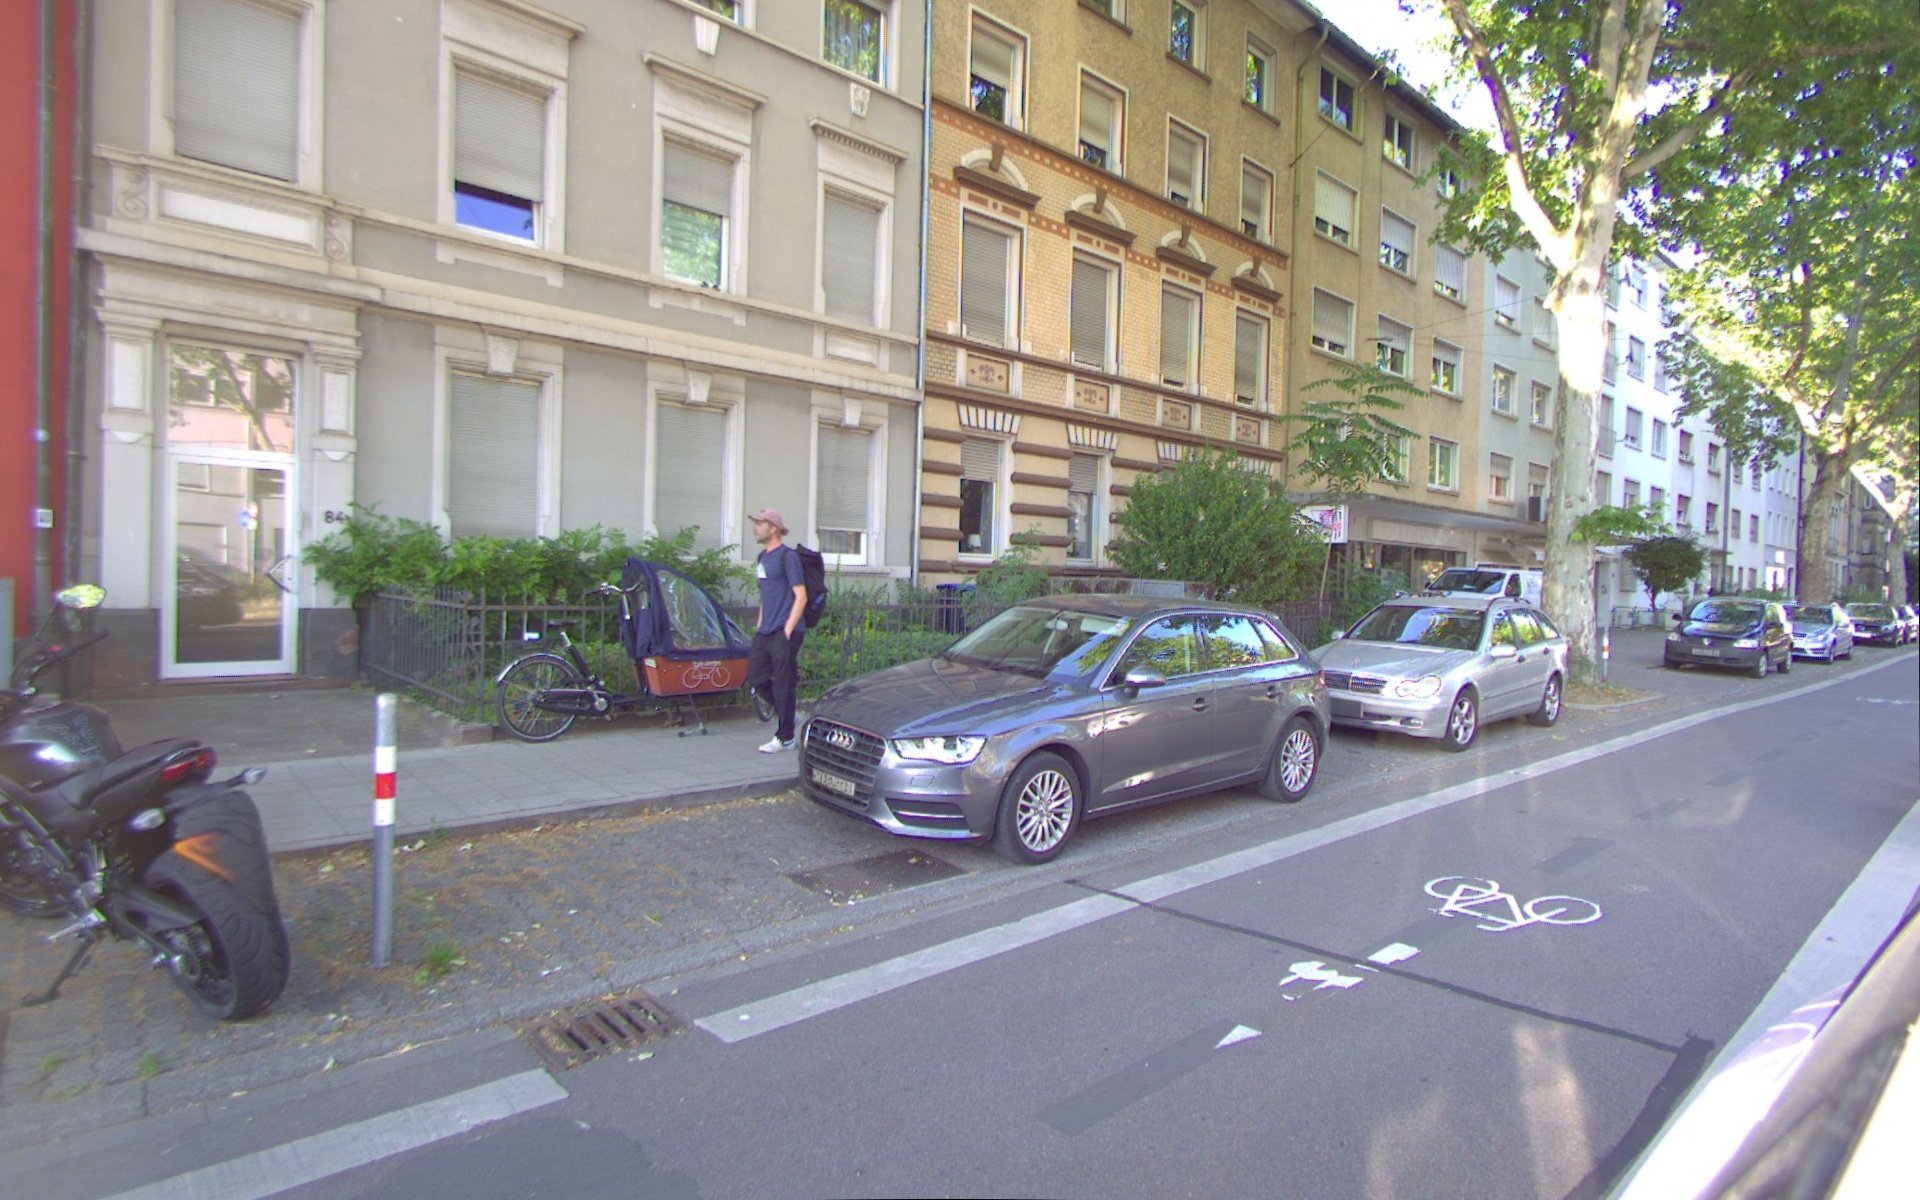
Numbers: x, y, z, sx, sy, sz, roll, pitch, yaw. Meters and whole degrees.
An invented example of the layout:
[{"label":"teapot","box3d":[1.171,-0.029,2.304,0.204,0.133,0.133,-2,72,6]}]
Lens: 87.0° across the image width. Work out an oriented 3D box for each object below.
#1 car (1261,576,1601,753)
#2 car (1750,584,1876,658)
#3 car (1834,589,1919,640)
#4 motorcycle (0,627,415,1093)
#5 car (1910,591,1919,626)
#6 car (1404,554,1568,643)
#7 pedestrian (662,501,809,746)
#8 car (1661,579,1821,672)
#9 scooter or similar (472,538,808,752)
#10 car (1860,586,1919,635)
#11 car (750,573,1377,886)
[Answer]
[{"label":"car","box3d":[5.328,0.548,11.150,4.436,1.472,1.801,0,4,-43]},{"label":"car","box3d":[21.817,0.474,25.835,4.295,1.628,1.802,0,4,-42]},{"label":"car","box3d":[31.530,0.438,34.687,4.295,1.520,1.802,0,4,-42]},{"label":"motorcycle","box3d":[-3.022,0.757,3.584,2.188,1.124,0.659,4,2,23]},{"label":"car","box3d":[46.713,0.439,48.133,4.034,1.628,1.802,0,4,-42]},{"label":"car","box3d":[12.796,-0.073,24.496,4.597,1.897,1.932,0,4,-42]},{"label":"pedestrian","box3d":[-1.708,0.139,7.679,0.802,1.731,0.728,-1,4,-41]},{"label":"car","box3d":[16.154,0.453,20.860,4.295,1.628,1.802,0,4,-42]},{"label":"scooter or similar","box3d":[-2.478,0.298,8.118,2.500,1.488,0.666,0,2,-41]},{"label":"car","box3d":[35.432,0.363,38.072,4.295,1.628,1.802,0,4,-42]},{"label":"car","box3d":[0.928,0.605,6.973,4.293,1.418,1.802,0,4,-41]}]
